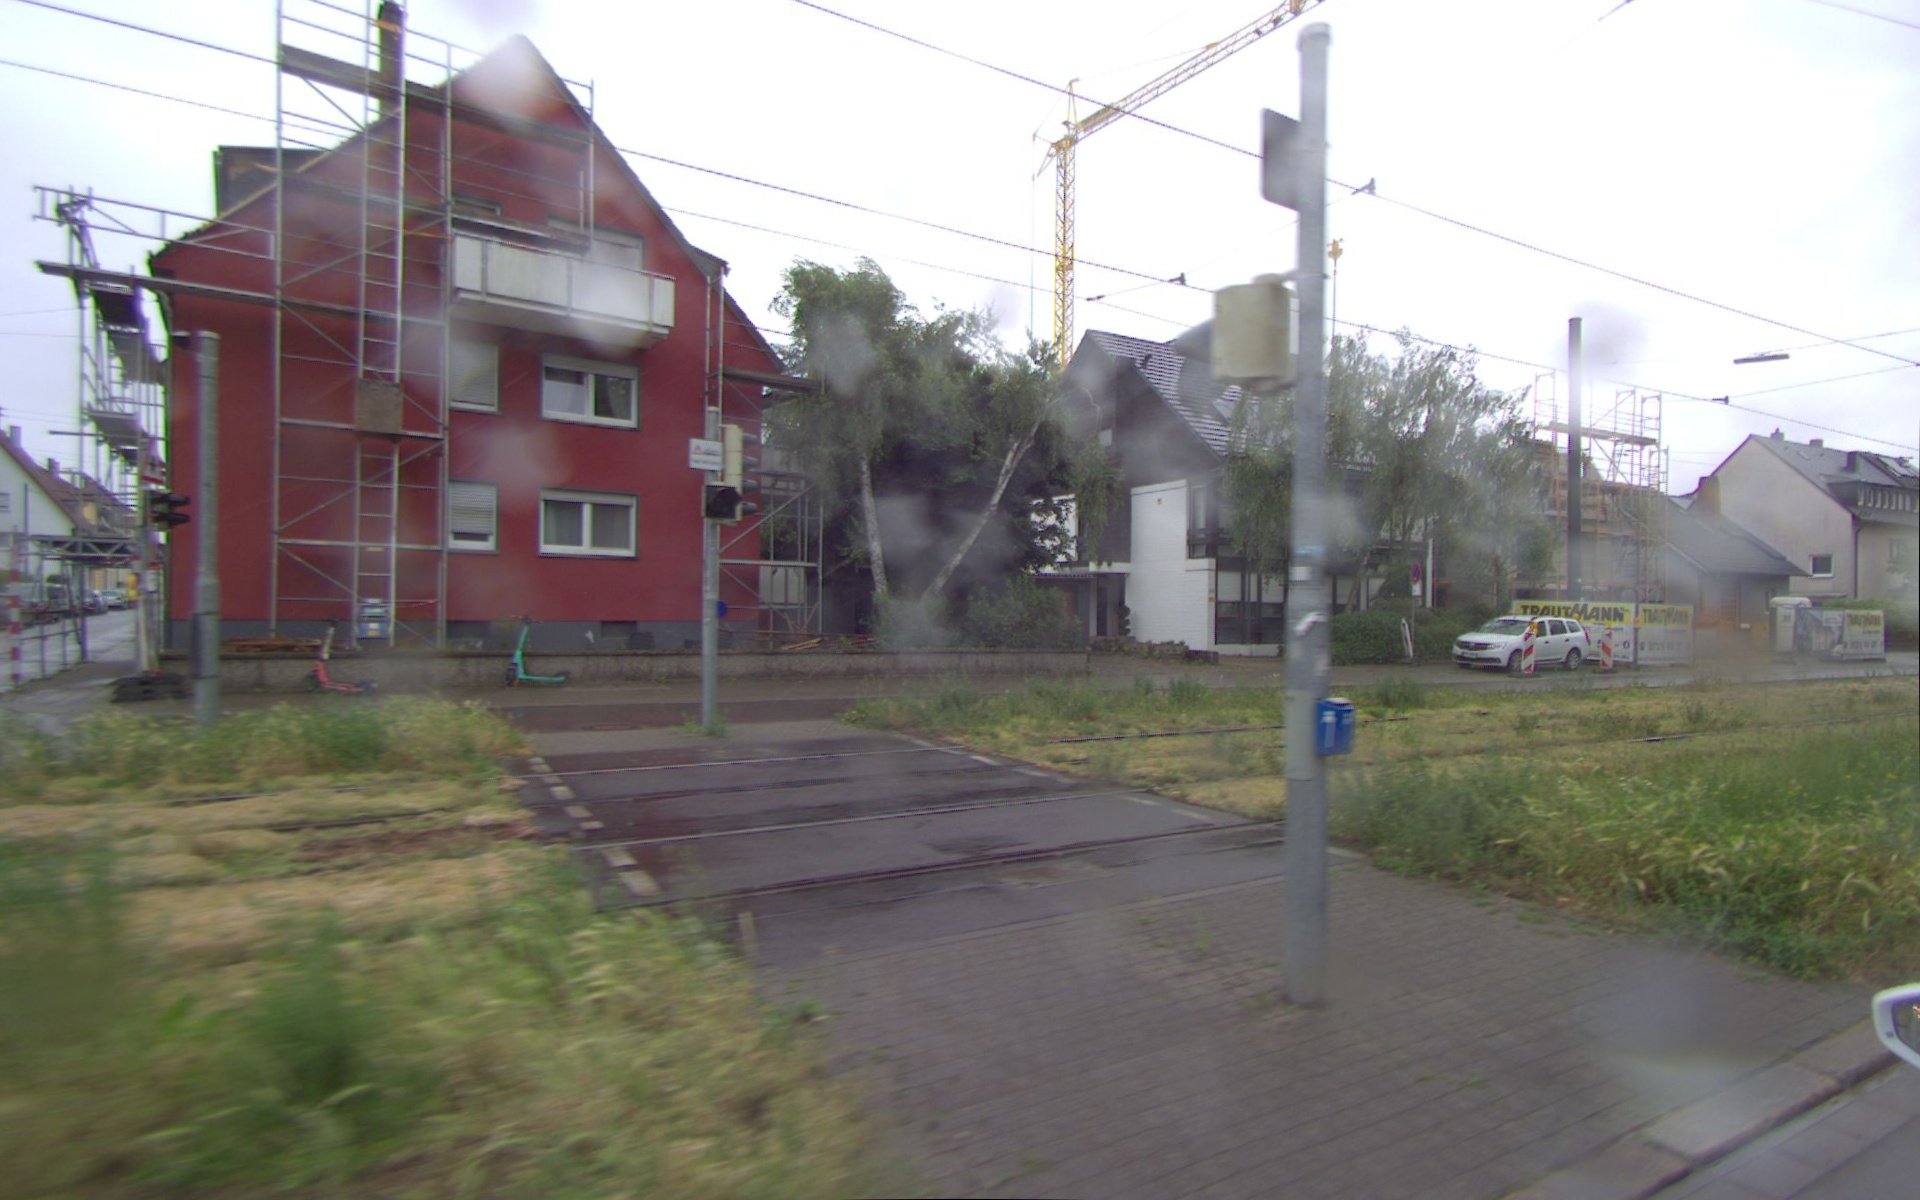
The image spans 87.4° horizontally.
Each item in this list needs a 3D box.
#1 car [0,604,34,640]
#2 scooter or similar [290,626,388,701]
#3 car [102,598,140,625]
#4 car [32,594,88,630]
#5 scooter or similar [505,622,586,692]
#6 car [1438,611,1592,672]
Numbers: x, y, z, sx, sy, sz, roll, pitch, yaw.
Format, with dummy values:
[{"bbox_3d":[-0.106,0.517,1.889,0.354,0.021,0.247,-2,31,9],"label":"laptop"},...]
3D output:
[{"bbox_3d":[-38.144,0.853,39.707,1.776,1.385,4.320,1,-1,-36],"label":"car"},{"bbox_3d":[-9.782,0.990,15.838,1.257,1.144,0.441,0,0,1],"label":"scooter or similar"},{"bbox_3d":[-60.469,0.833,72.420,1.776,1.847,4.320,1,-1,-36],"label":"car"},{"bbox_3d":[-47.828,0.647,53.438,1.776,1.847,4.320,1,-1,-36],"label":"car"},{"bbox_3d":[-7.235,0.984,17.567,1.261,1.196,0.394,1,0,-15],"label":"scooter or similar"},{"bbox_3d":[15.830,1.132,28.595,4.366,1.563,1.703,1,2,-28],"label":"car"}]
